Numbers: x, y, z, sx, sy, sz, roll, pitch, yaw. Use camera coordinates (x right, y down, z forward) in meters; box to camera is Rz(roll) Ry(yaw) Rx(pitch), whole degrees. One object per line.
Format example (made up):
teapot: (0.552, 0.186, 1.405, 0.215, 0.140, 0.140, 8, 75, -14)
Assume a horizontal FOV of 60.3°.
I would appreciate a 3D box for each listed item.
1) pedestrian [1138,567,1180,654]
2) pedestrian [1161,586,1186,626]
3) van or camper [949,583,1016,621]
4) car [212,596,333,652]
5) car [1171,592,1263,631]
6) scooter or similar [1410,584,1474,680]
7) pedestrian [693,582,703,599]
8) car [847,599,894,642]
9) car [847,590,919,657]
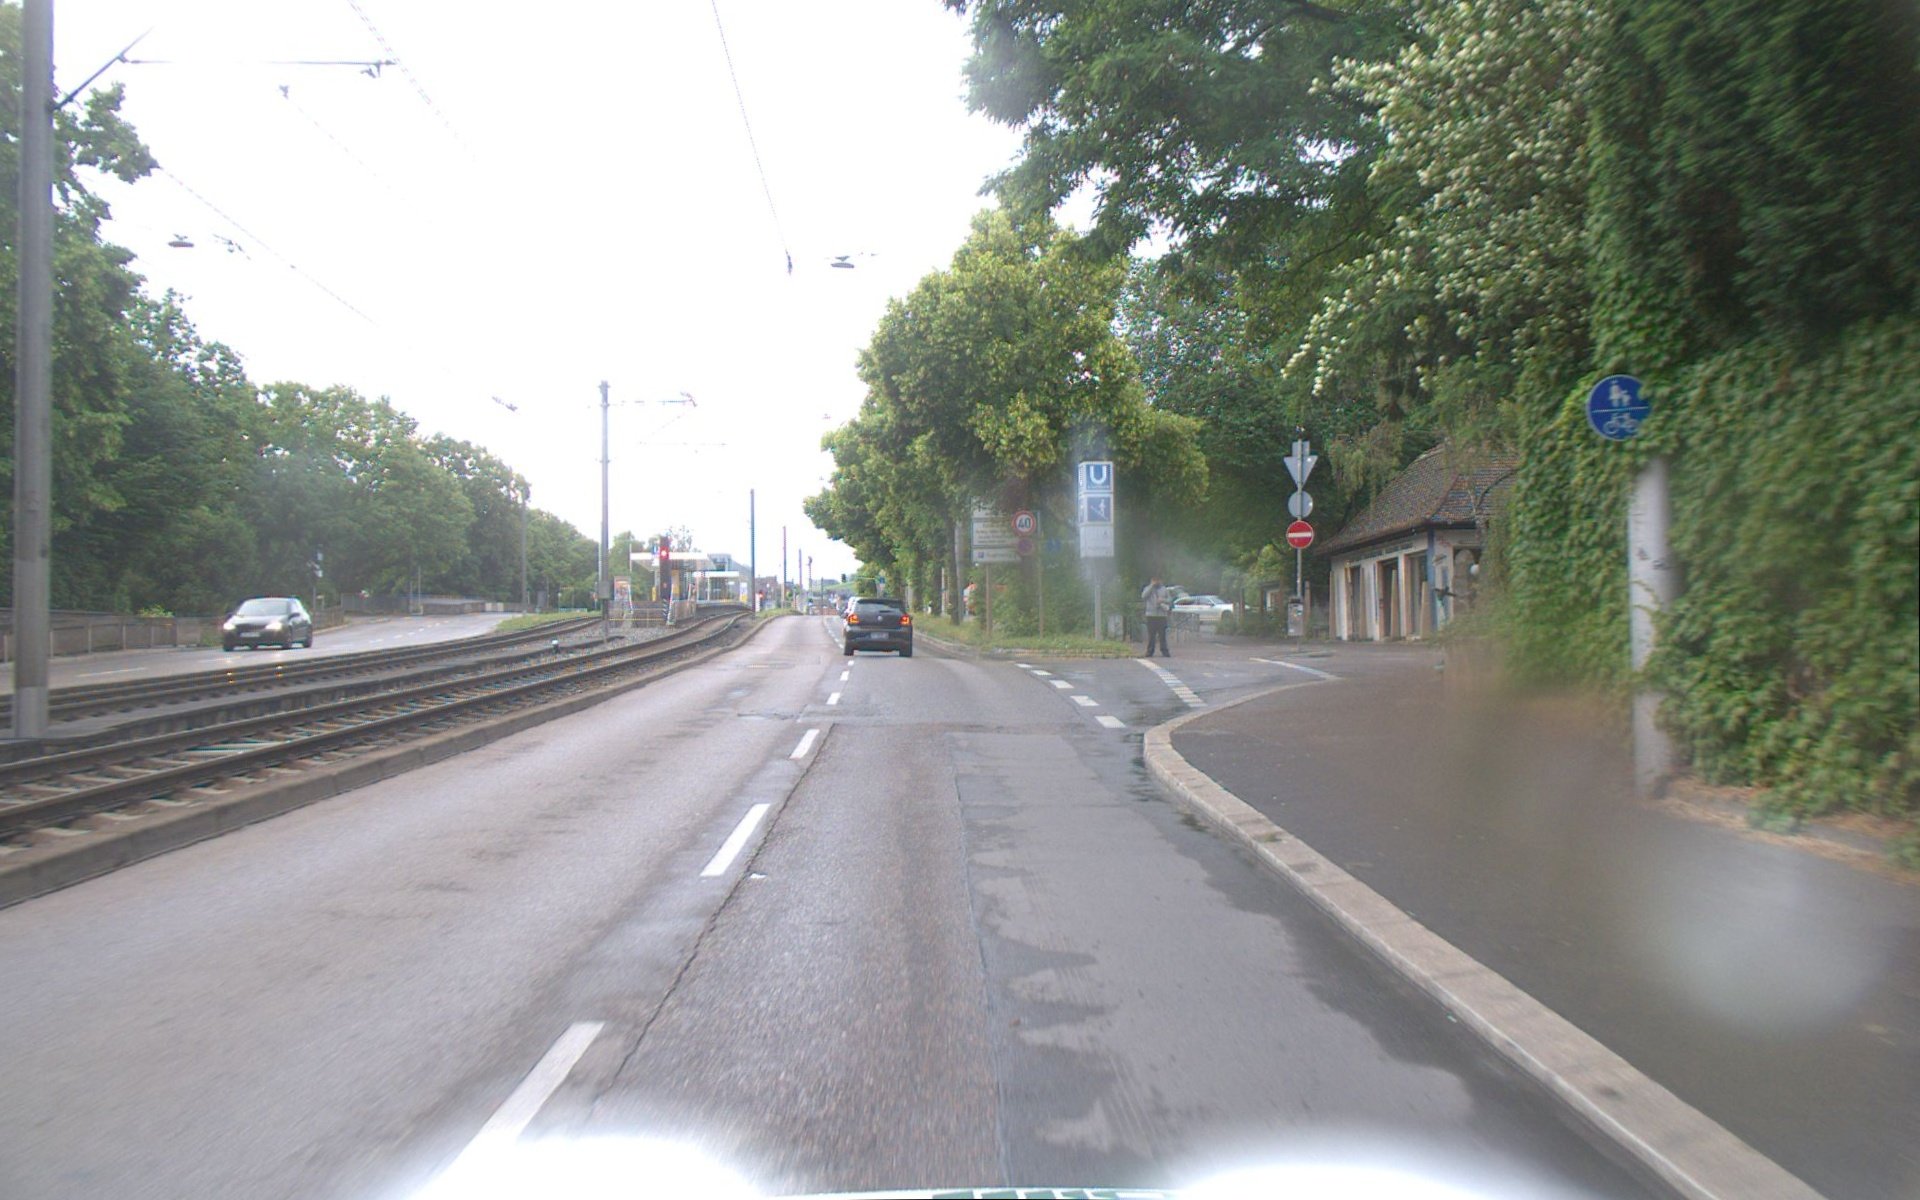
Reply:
pedestrian: (4.381, 0.230, 36.477, 0.837, 1.886, 0.737, 0, 0, -1)
pedestrian: (11.052, 0.311, 85.564, 0.949, 2.049, 0.942, 1, 0, -28)
van or camper: (1.709, 0.178, 122.360, 2.002, 2.448, 5.367, 3, -1, 38)
car: (-19.508, 0.667, 47.121, 1.927, 1.466, 4.317, -2, 0, -5)
car: (13.267, 0.577, 85.486, 1.932, 1.866, 4.394, 2, 0, -45)
scooter or similar: (6.660, 0.434, 22.900, 0.503, 1.252, 1.315, -4, -1, 4)
pedestrian: (-19.382, -0.715, 122.233, 0.696, 1.247, 0.619, 0, -1, -4)
car: (-3.361, 0.728, 61.900, 1.654, 1.544, 3.996, 0, 0, -5)
car: (-1.901, 0.543, 40.888, 1.692, 1.567, 3.998, 0, 0, -3)
